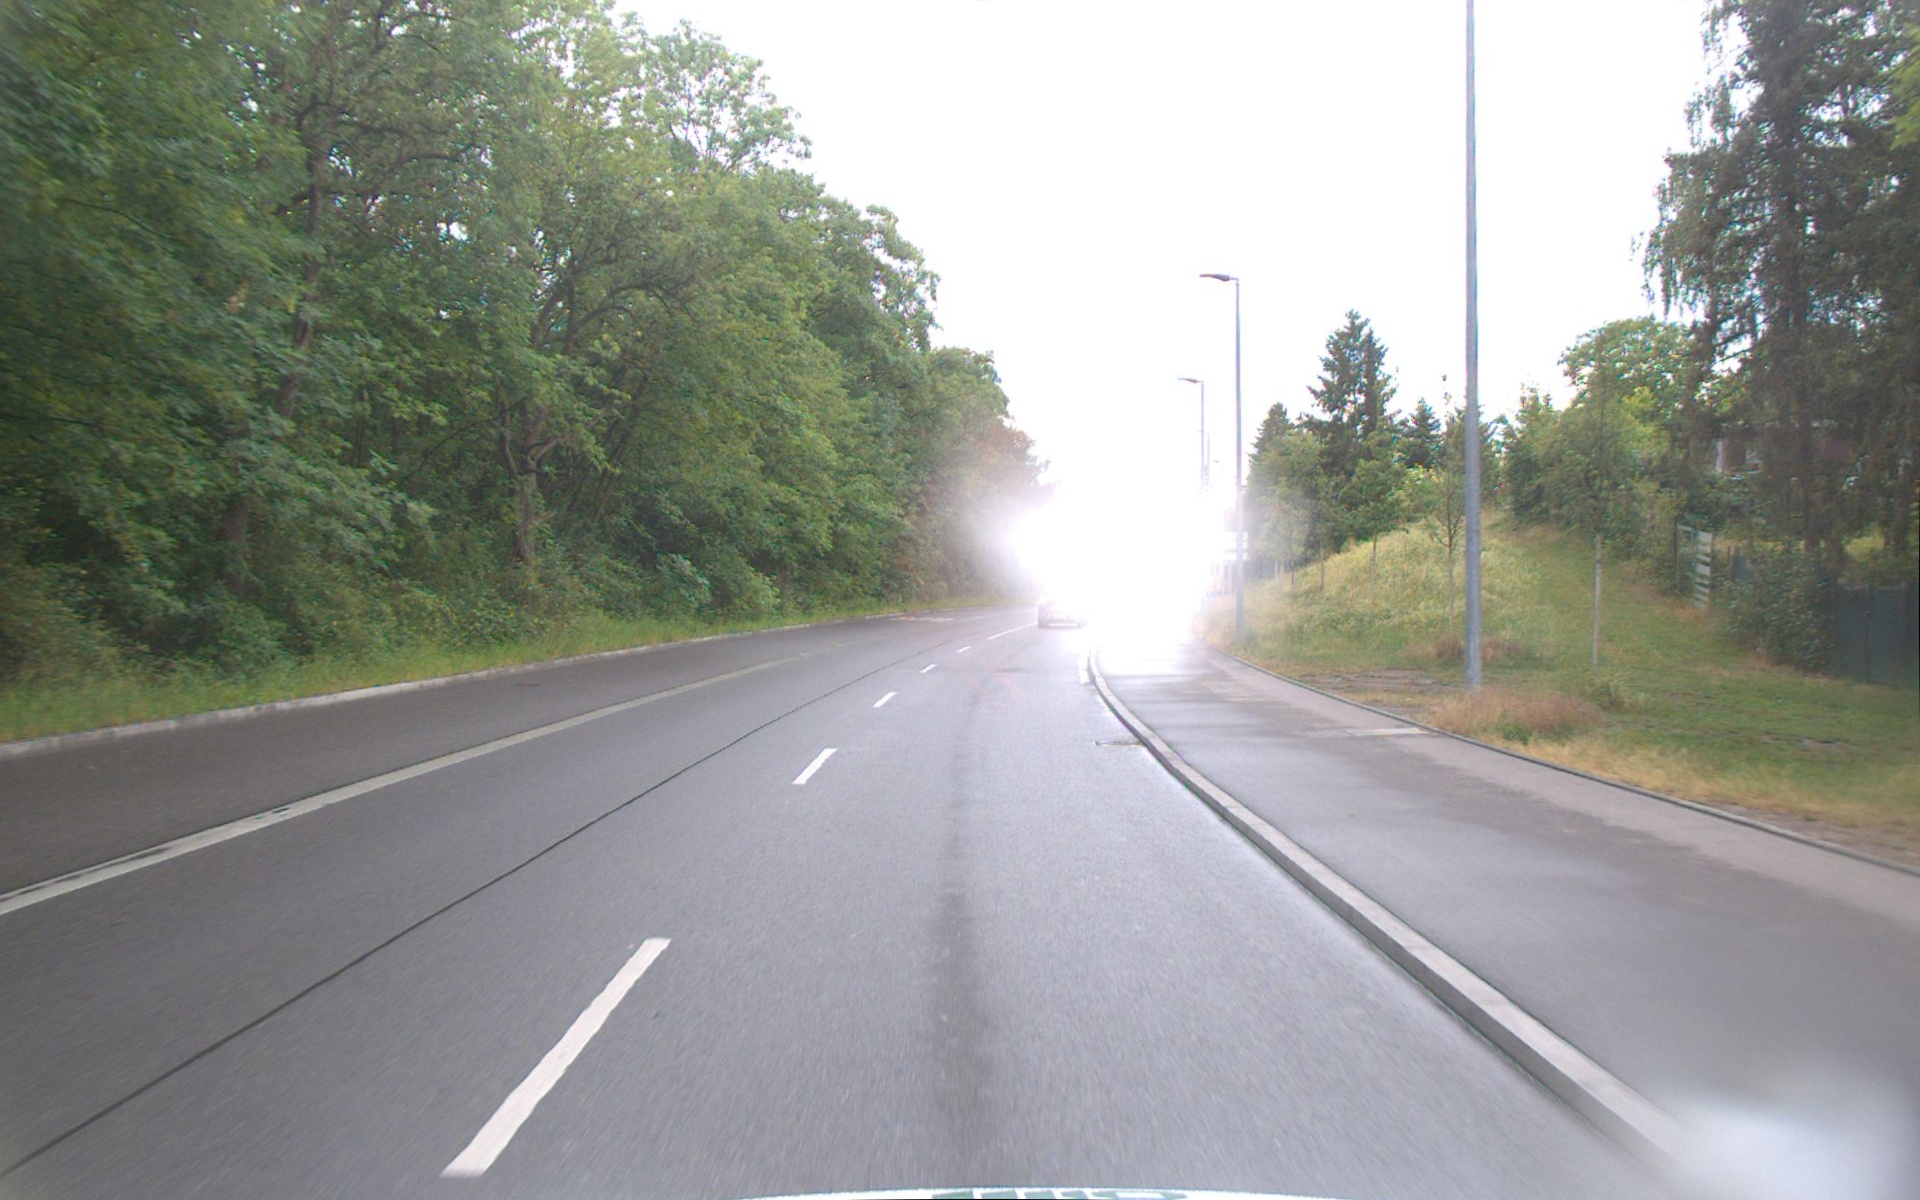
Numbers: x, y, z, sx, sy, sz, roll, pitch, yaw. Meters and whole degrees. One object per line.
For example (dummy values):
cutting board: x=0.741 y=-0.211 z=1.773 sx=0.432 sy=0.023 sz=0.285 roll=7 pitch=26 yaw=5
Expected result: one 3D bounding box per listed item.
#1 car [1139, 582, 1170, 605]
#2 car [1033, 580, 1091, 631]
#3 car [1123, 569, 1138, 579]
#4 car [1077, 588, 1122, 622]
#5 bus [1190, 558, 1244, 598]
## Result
car: x=13.607 y=-0.485 z=115.575 sx=1.951 sy=1.579 sz=4.004 roll=0 pitch=1 yaw=9
car: x=3.892 y=0.178 z=62.615 sx=1.951 sy=1.718 sz=4.004 roll=-1 pitch=2 yaw=7
car: x=24.384 y=-3.746 z=237.071 sx=1.952 sy=1.445 sz=4.002 roll=0 pitch=1 yaw=4
car: x=7.085 y=0.249 z=83.743 sx=1.886 sy=1.512 sz=3.803 roll=-1 pitch=2 yaw=10
bus: x=21.209 y=-1.800 z=136.158 sx=2.758 sy=3.197 sz=9.183 roll=0 pitch=1 yaw=19
